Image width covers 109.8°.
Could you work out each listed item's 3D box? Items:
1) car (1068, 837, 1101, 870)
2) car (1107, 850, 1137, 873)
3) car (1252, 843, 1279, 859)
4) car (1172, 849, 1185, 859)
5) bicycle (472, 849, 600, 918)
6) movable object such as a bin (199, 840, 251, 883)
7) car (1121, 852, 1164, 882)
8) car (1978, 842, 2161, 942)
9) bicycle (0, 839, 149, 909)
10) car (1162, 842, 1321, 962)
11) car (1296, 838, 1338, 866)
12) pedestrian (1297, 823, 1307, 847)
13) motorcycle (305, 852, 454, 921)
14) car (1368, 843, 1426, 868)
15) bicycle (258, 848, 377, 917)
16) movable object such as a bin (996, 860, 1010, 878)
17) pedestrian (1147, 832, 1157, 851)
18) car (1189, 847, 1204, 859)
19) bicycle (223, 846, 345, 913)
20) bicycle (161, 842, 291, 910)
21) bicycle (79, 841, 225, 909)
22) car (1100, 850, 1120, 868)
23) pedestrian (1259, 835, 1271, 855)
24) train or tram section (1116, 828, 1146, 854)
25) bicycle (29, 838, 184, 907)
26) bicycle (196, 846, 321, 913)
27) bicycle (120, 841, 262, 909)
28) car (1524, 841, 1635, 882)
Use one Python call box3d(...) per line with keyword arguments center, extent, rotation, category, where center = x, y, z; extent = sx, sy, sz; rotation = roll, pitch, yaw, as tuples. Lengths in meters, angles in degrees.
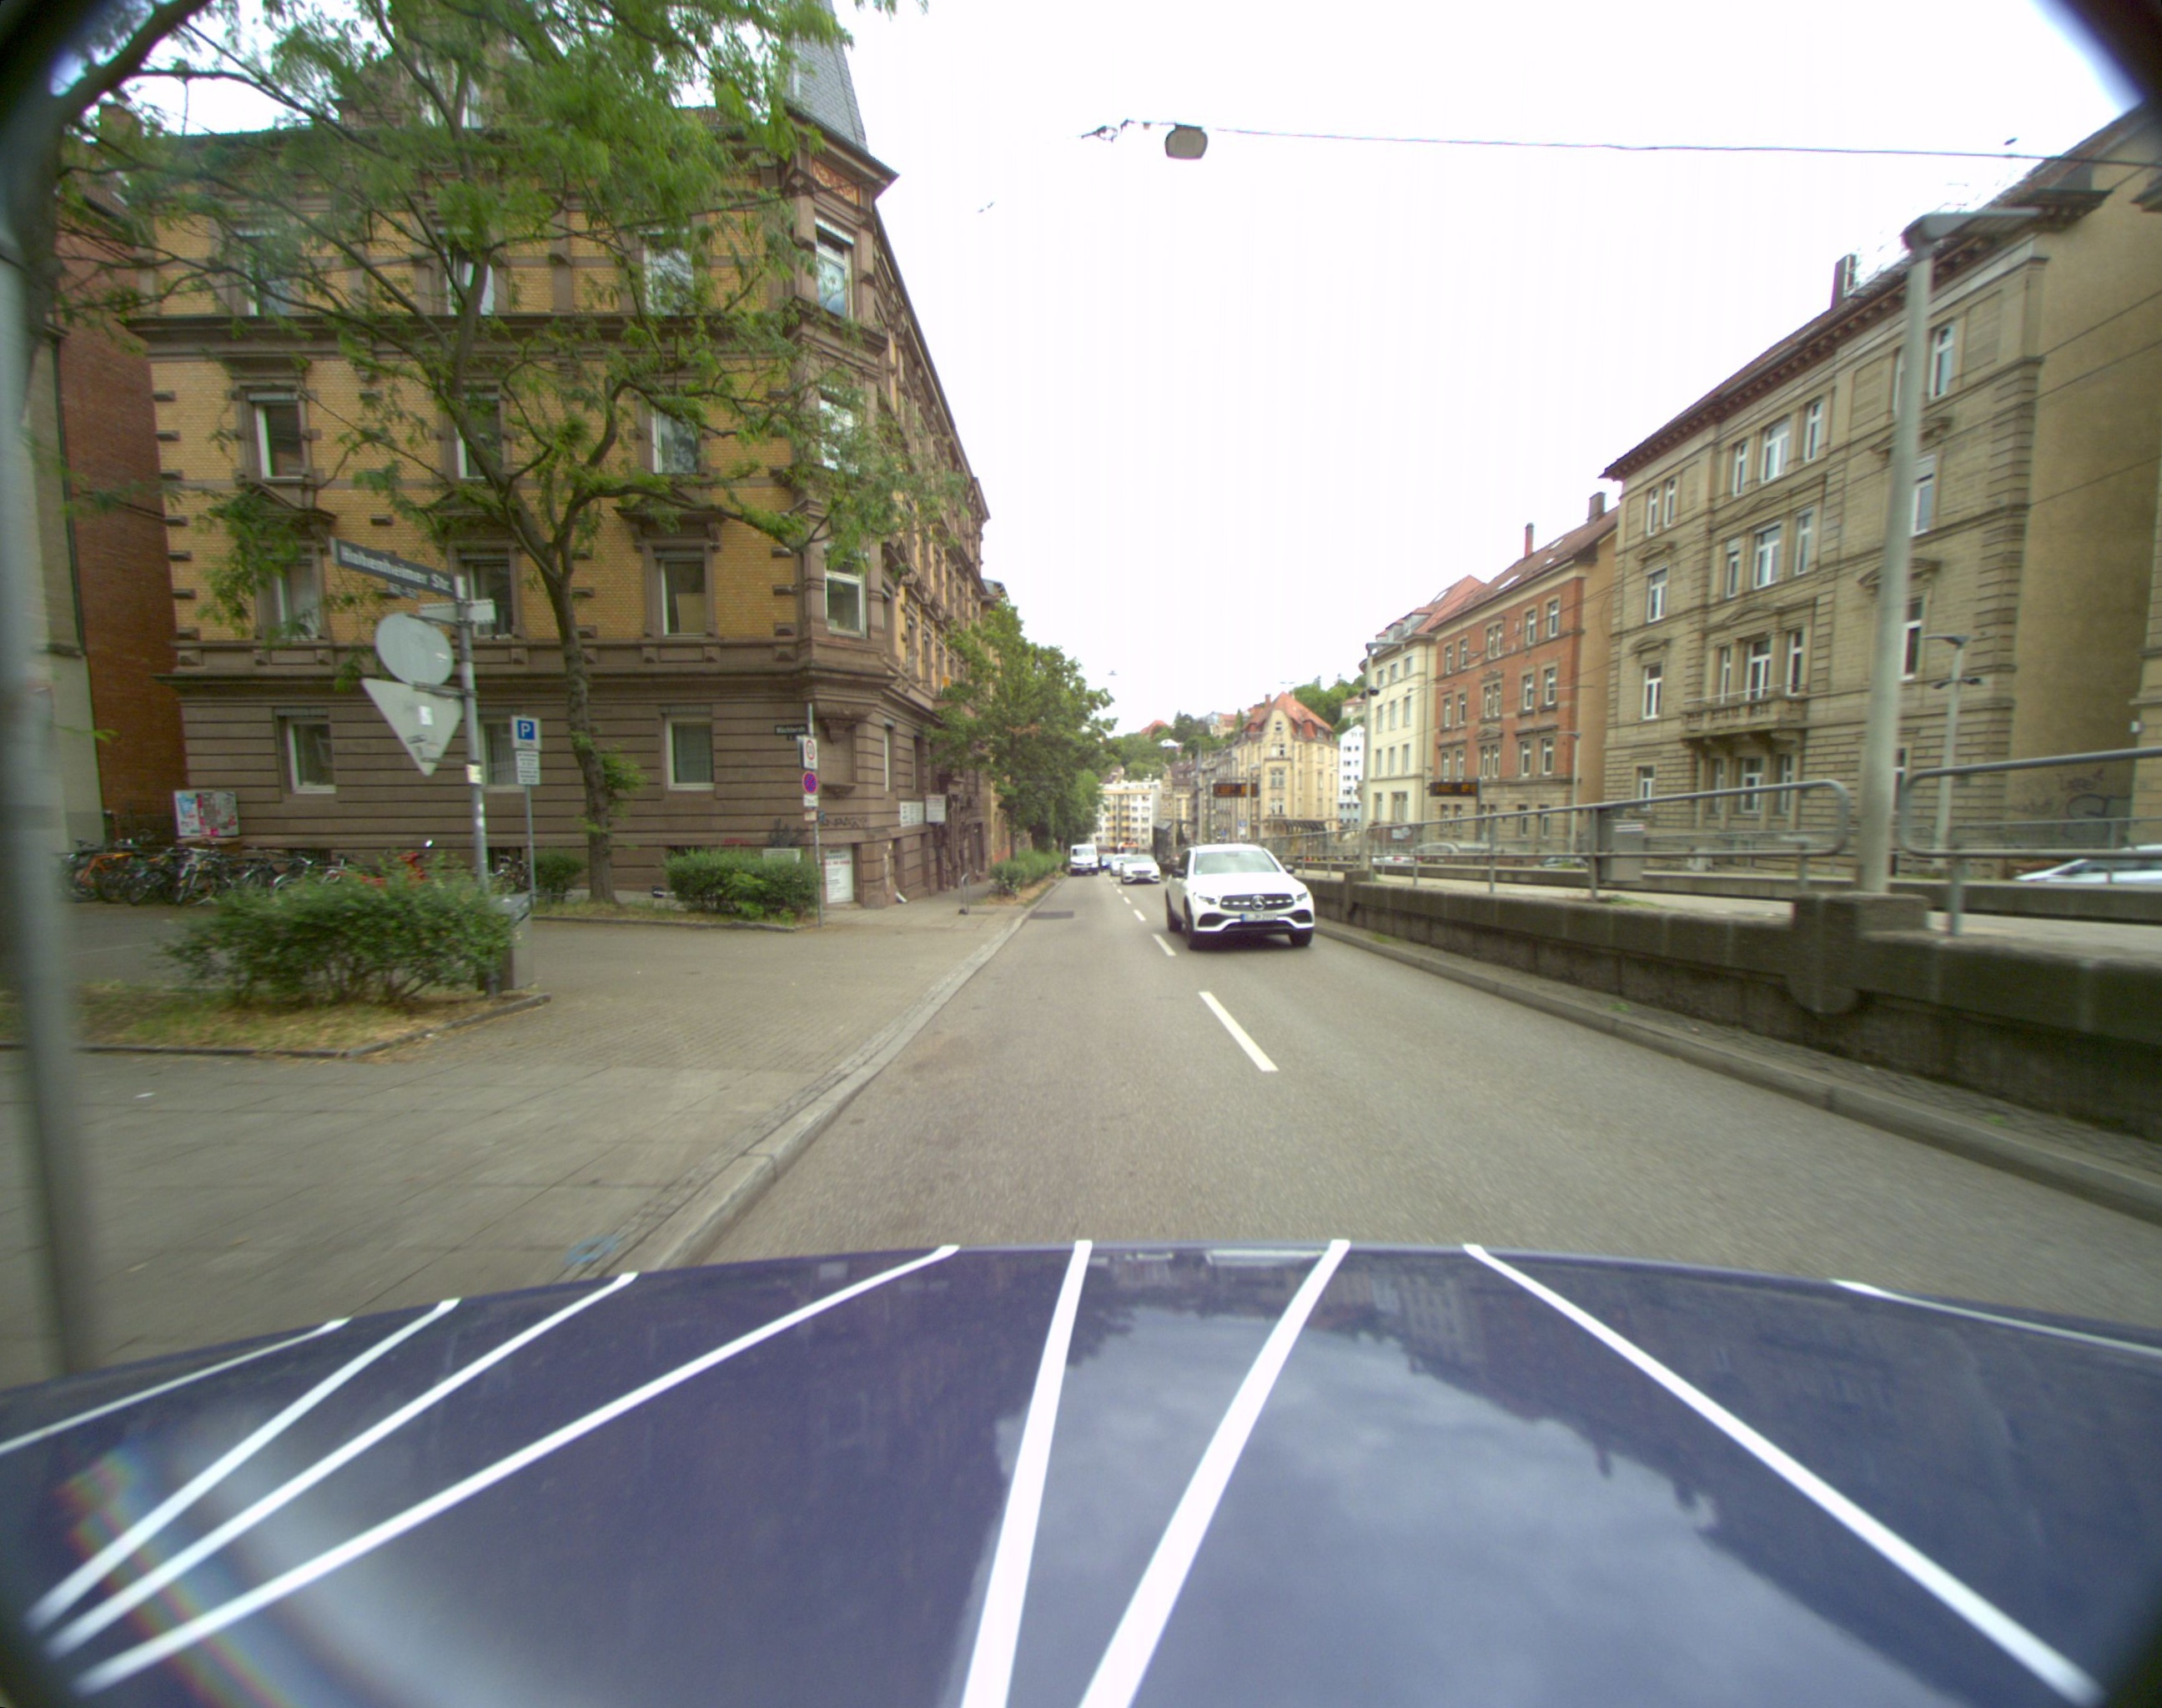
box3d(center=(0.287, -0.050, 57.555), extent=(2.263, 2.274, 5.967), rotation=(-2, 0, 1), category="car")
box3d(center=(2.801, 0.489, 52.596), extent=(1.806, 1.542, 4.000), rotation=(-1, 0, 1), category="car")
box3d(center=(20.254, -0.351, 83.614), extent=(1.867, 1.636, 4.414), rotation=(0, 1, 0), category="car")
box3d(center=(16.839, -0.047, 131.541), extent=(1.827, 1.754, 3.864), rotation=(-1, 0, 2), category="car")
box3d(center=(-9.924, 0.490, 13.931), extent=(0.507, 1.093, 1.924), rotation=(4, 4, 22), category="bicycle")
box3d(center=(-18.871, 0.159, 16.759), extent=(0.430, 0.882, 0.567), rotation=(0, 8, -10), category="movable object such as a bin")
box3d(center=(2.995, 0.602, 37.782), extent=(1.806, 1.392, 4.000), rotation=(-1, 0, 0), category="car")
box3d(center=(19.076, 0.638, 13.333), extent=(1.940, 1.670, 4.000), rotation=(1, 0, 1), category="car")
box3d(center=(-18.534, 0.330, 13.960), extent=(0.591, 1.093, 1.919), rotation=(2, 3, -8), category="bicycle")
box3d(center=(2.559, 0.649, 13.258), extent=(1.840, 1.657, 4.670), rotation=(-2, 1, 1), category="car")
box3d(center=(19.955, -0.192, 64.477), extent=(1.998, 2.291, 5.455), rotation=(0, 1, 1), category="car")
box3d(center=(14.527, -1.220, 49.955), extent=(0.463, 1.553, 0.540), rotation=(-1, 1, 0), category="pedestrian")
box3d(center=(-12.755, 0.548, 13.896), extent=(0.507, 1.093, 1.924), rotation=(4, 4, 25), category="motorcycle")
box3d(center=(19.632, 0.073, 47.347), extent=(1.772, 1.462, 4.260), rotation=(-2, 0, 0), category="car")
box3d(center=(-14.127, 0.490, 14.140), extent=(0.509, 1.093, 1.918), rotation=(2, 3, -9), category="bicycle")
box3d(center=(-4.367, 0.836, 42.506), extent=(0.672, 0.937, 0.539), rotation=(0, 1, 4), category="movable object such as a bin")
box3d(center=(6.453, -1.159, 68.997), extent=(0.767, 1.705, 0.766), rotation=(0, 1, 1), category="pedestrian")
box3d(center=(16.720, -0.183, 110.224), extent=(1.827, 1.754, 3.864), rotation=(-1, 0, 2), category="car")
box3d(center=(-15.006, 0.446, 14.390), extent=(0.509, 1.093, 1.918), rotation=(2, 3, -9), category="bicycle")
box3d(center=(-16.132, 0.379, 14.411), extent=(0.509, 1.093, 1.918), rotation=(2, 3, -9), category="bicycle")
box3d(center=(-17.302, 0.348, 14.228), extent=(0.565, 1.093, 1.918), rotation=(2, 3, -9), category="bicycle")
box3d(center=(2.535, 0.410, 66.993), extent=(1.694, 1.466, 3.856), rotation=(0, 1, 1), category="car")
box3d(center=(14.913, -0.727, 61.528), extent=(0.767, 1.678, 0.843), rotation=(0, 1, 1), category="pedestrian")
box3d(center=(6.823, -1.701, 105.516), extent=(2.968, 3.456, 14.406), rotation=(0, 0, -1), category="train or tram section")
box3d(center=(-17.925, 0.301, 14.057), extent=(0.565, 1.093, 1.918), rotation=(2, 3, -9), category="bicycle")
box3d(center=(-15.603, 0.441, 14.488), extent=(0.509, 1.093, 1.918), rotation=(2, 3, -9), category="bicycle")
box3d(center=(-16.702, 0.354, 14.340), extent=(0.594, 1.093, 1.918), rotation=(2, 3, -9), category="bicycle")
box3d(center=(19.893, 0.267, 30.556), extent=(1.883, 1.519, 4.000), rotation=(0, 0, 1), category="car")
